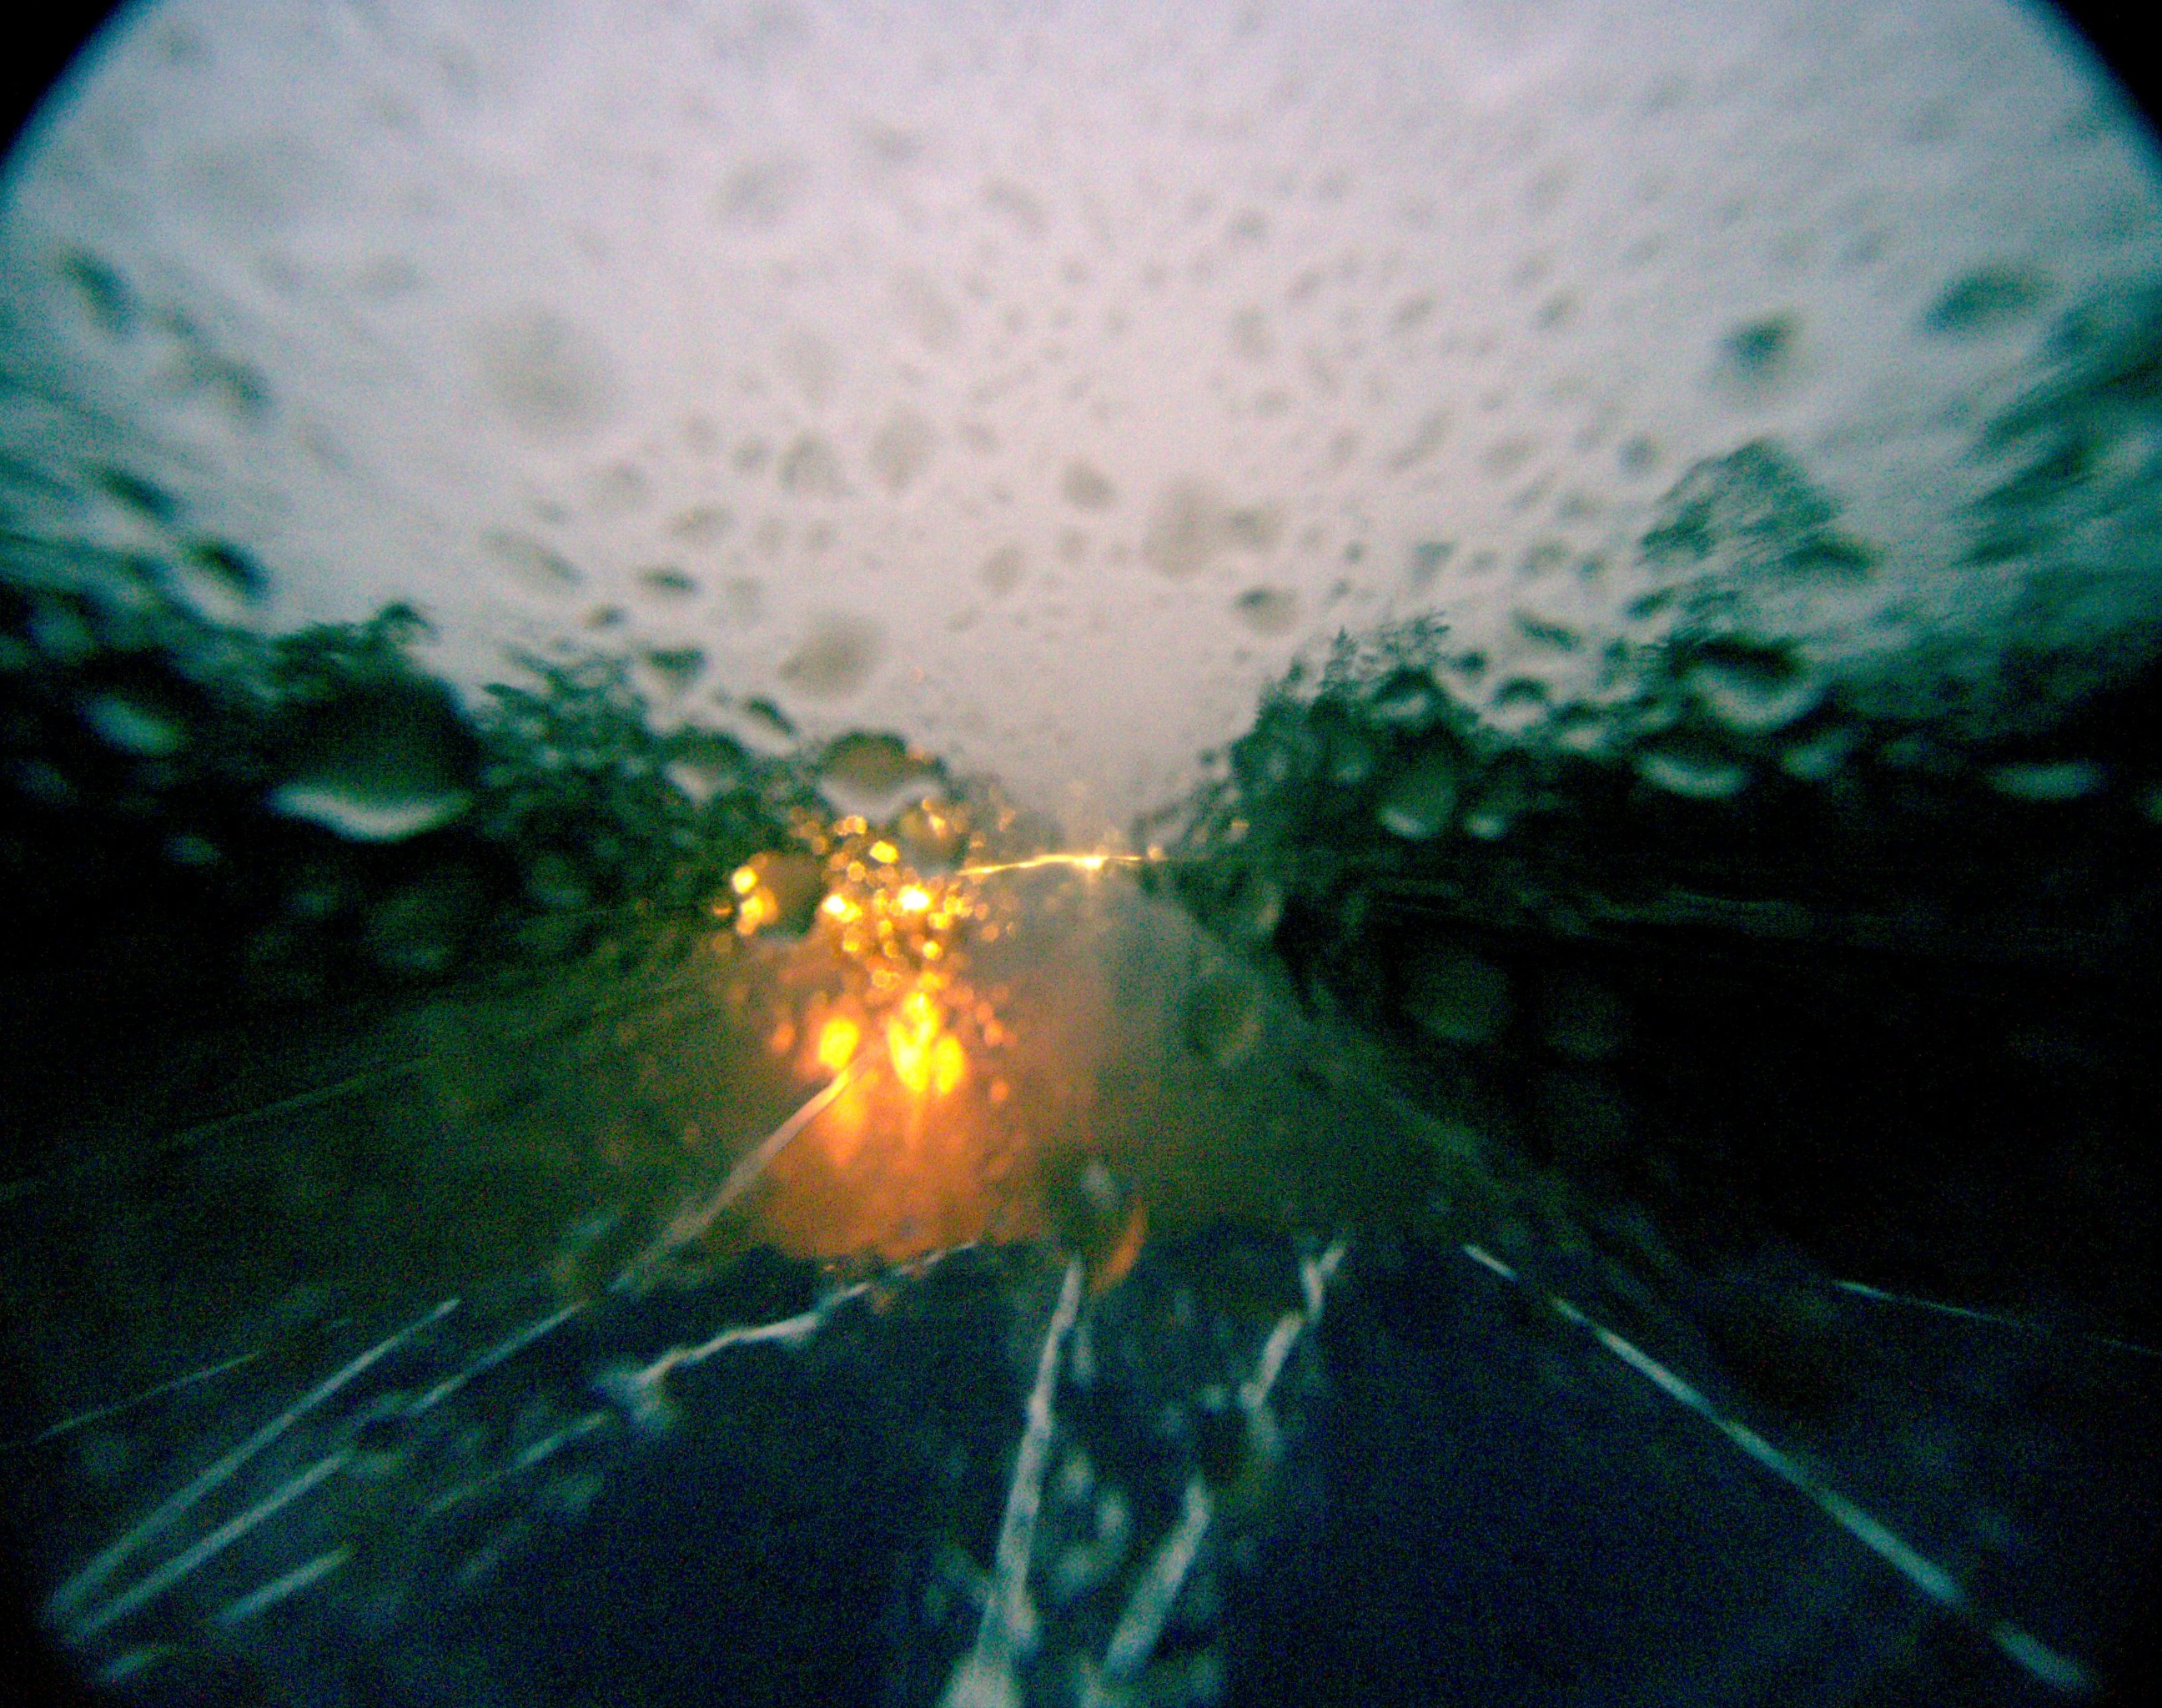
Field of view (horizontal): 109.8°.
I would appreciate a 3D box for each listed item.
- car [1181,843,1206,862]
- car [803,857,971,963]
[{"bbox_3d":[12.745,-0.199,86.150,1.999,2.002,4.784,-2,0,-1],"label":"car"},{"bbox_3d":[-3.552,0.940,14.907,2.075,1.688,4.461,-2,0,0],"label":"car"}]
